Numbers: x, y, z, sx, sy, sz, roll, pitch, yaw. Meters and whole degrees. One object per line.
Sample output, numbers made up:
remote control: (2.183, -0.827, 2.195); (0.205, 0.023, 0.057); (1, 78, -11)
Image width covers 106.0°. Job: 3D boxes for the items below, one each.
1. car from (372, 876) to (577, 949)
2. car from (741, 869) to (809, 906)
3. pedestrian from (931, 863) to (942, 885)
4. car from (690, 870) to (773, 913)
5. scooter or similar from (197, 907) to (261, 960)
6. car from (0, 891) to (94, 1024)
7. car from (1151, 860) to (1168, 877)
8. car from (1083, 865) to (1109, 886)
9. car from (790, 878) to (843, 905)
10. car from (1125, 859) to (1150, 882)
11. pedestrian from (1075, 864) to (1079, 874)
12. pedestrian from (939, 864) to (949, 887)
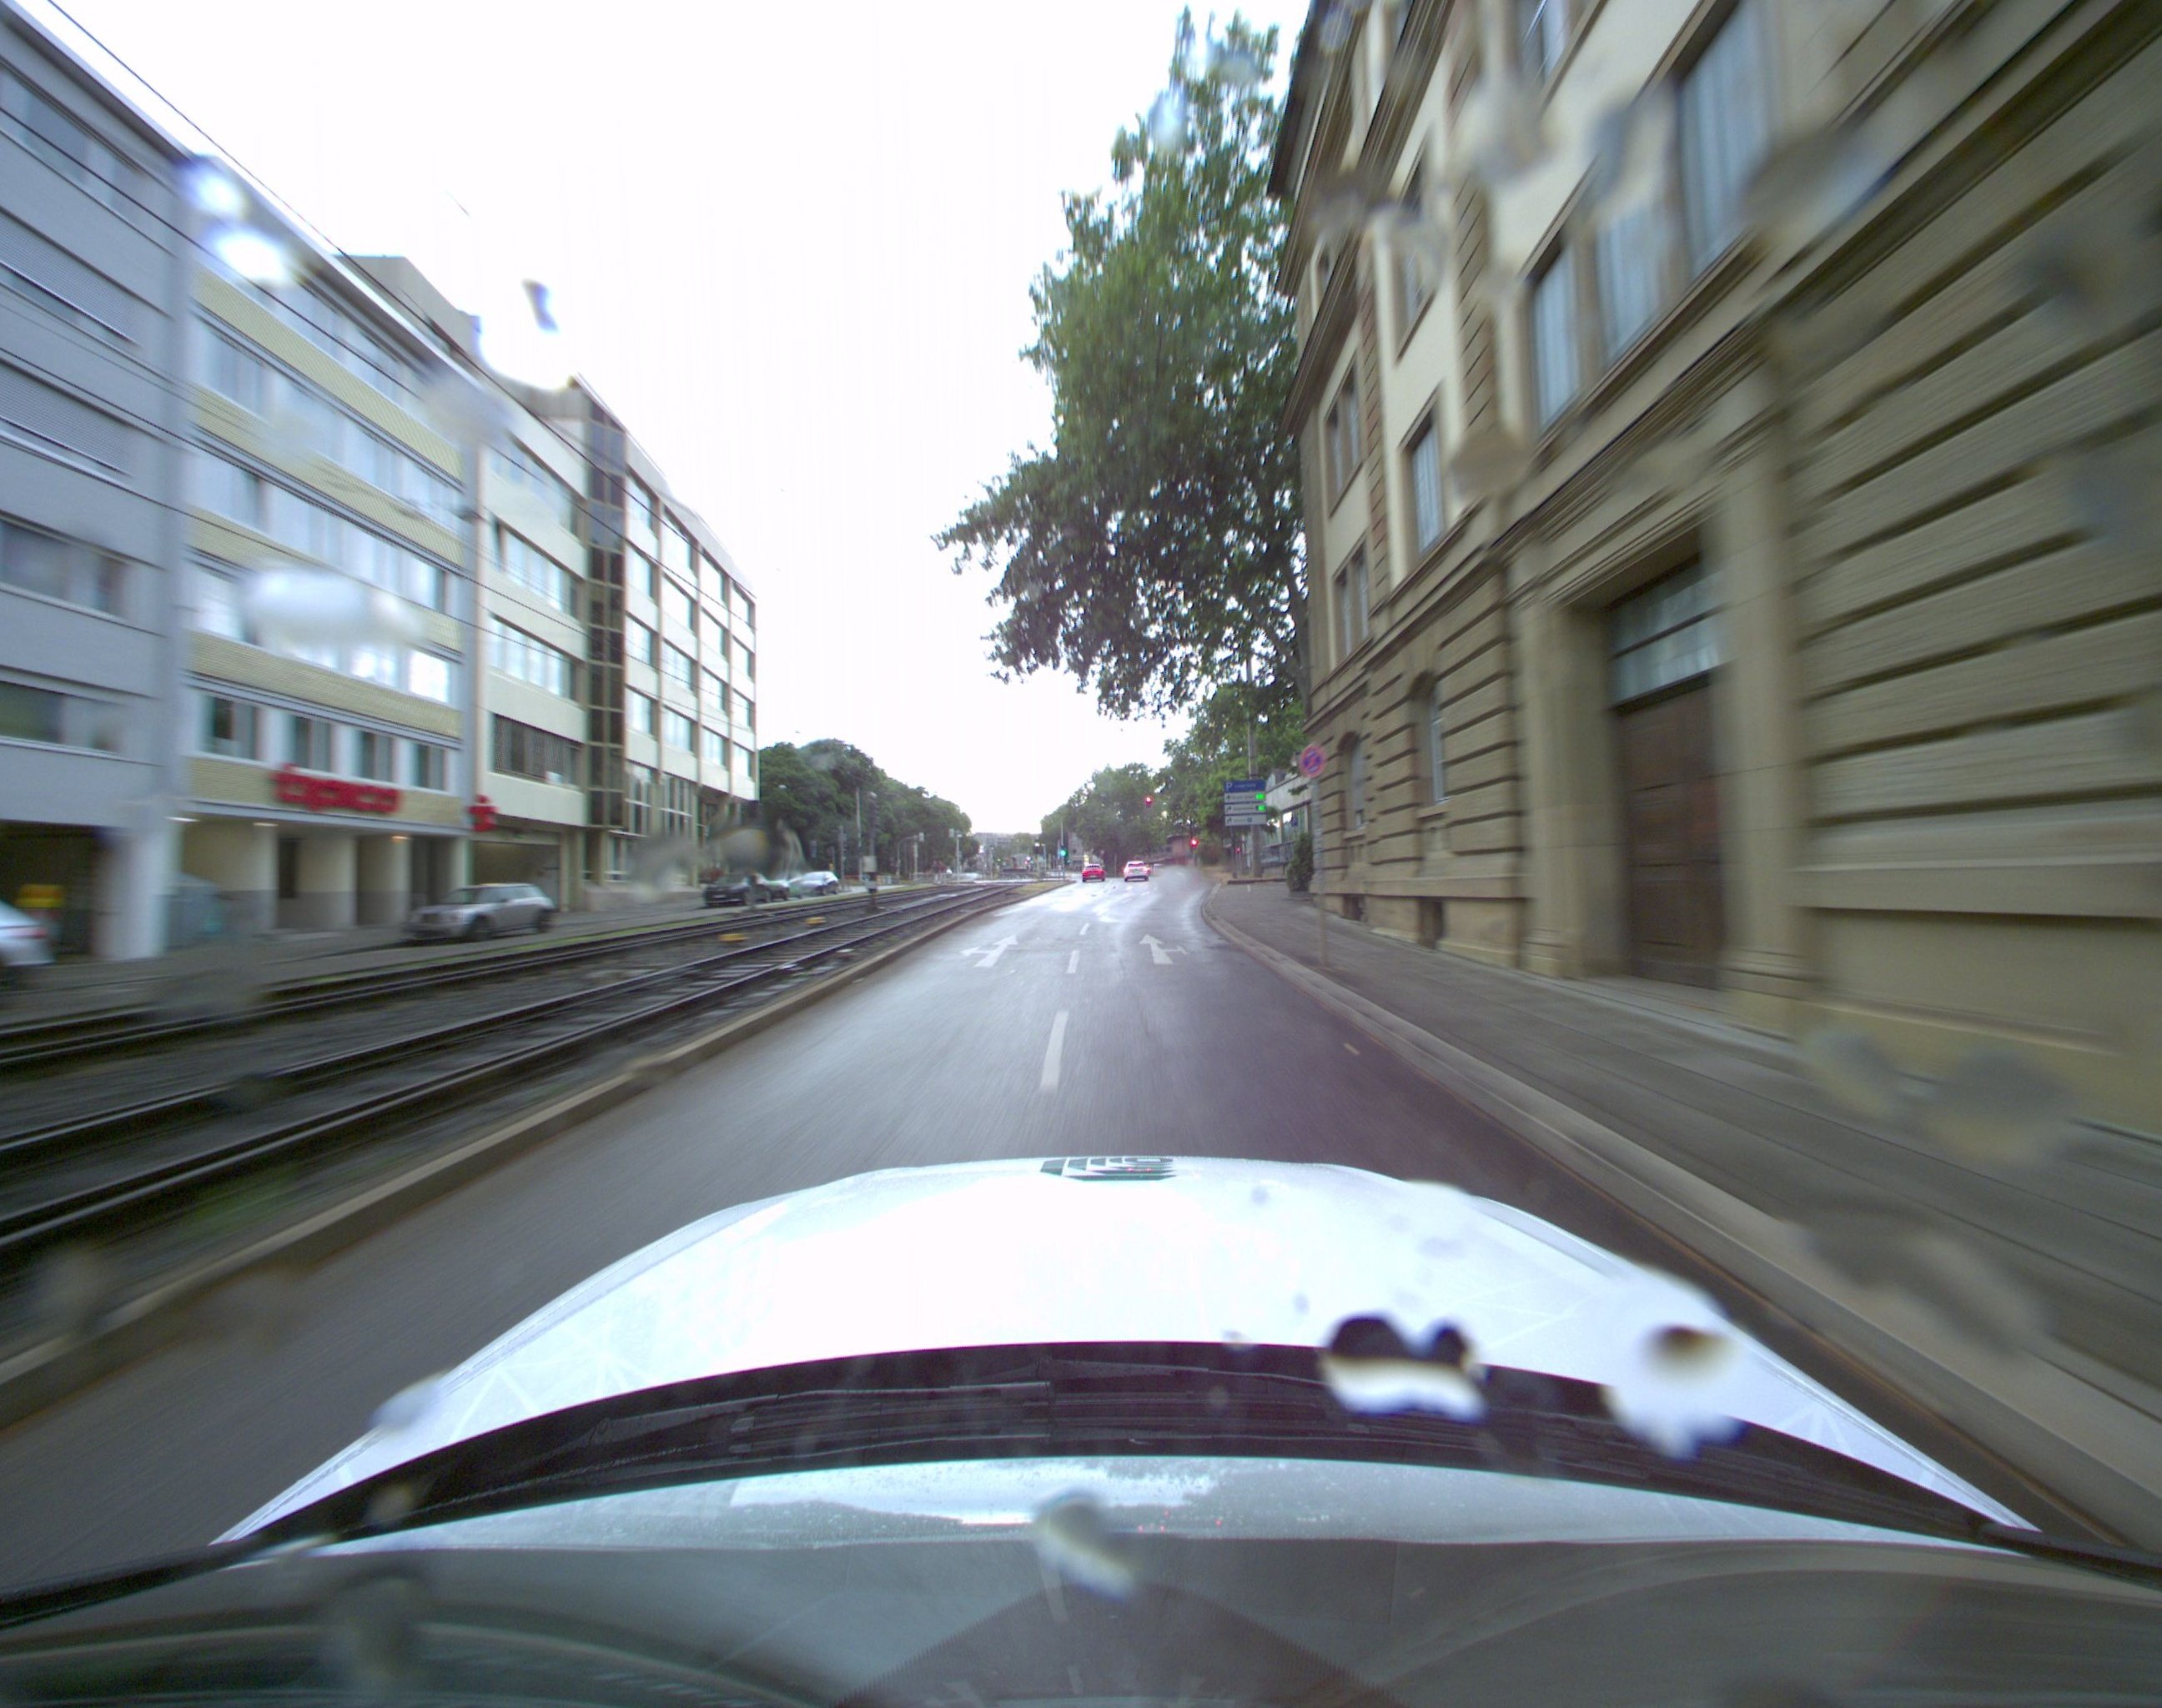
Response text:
car: (-15.513, 1.431, 21.244); (1.989, 1.674, 4.688); (0, -2, -3)
car: (-16.054, 1.742, 43.002); (1.989, 1.850, 4.688); (0, -2, -3)
pedestrian: (-11.417, 1.591, 64.336); (0.642, 1.788, 0.804); (1, -2, -24)
car: (-15.915, 1.689, 37.407); (1.989, 1.850, 4.688); (0, -2, -3)
scooter or similar: (-18.619, 1.730, 17.820); (0.380, 1.032, 0.973); (0, 1, -2)
car: (-14.912, 1.347, 9.126); (1.988, 1.674, 4.693); (0, 0, -1)
car: (14.561, 2.715, 150.960); (2.537, 3.134, 5.028); (0, -2, -1)
car: (1.238, 1.739, 65.481); (1.973, 1.640, 4.418); (0, -2, 2)
car: (-16.002, 2.241, 49.507); (1.989, 1.582, 4.543); (0, -2, -3)
car: (4.229, 1.233, 60.699); (1.671, 1.576, 4.257); (-3, -1, 4)
pedestrian: (-0.741, 2.901, 155.344); (0.756, 1.824, 0.698); (0, -2, -9)
pedestrian: (-10.701, 1.711, 63.681); (0.641, 1.788, 0.805); (1, -2, -19)
